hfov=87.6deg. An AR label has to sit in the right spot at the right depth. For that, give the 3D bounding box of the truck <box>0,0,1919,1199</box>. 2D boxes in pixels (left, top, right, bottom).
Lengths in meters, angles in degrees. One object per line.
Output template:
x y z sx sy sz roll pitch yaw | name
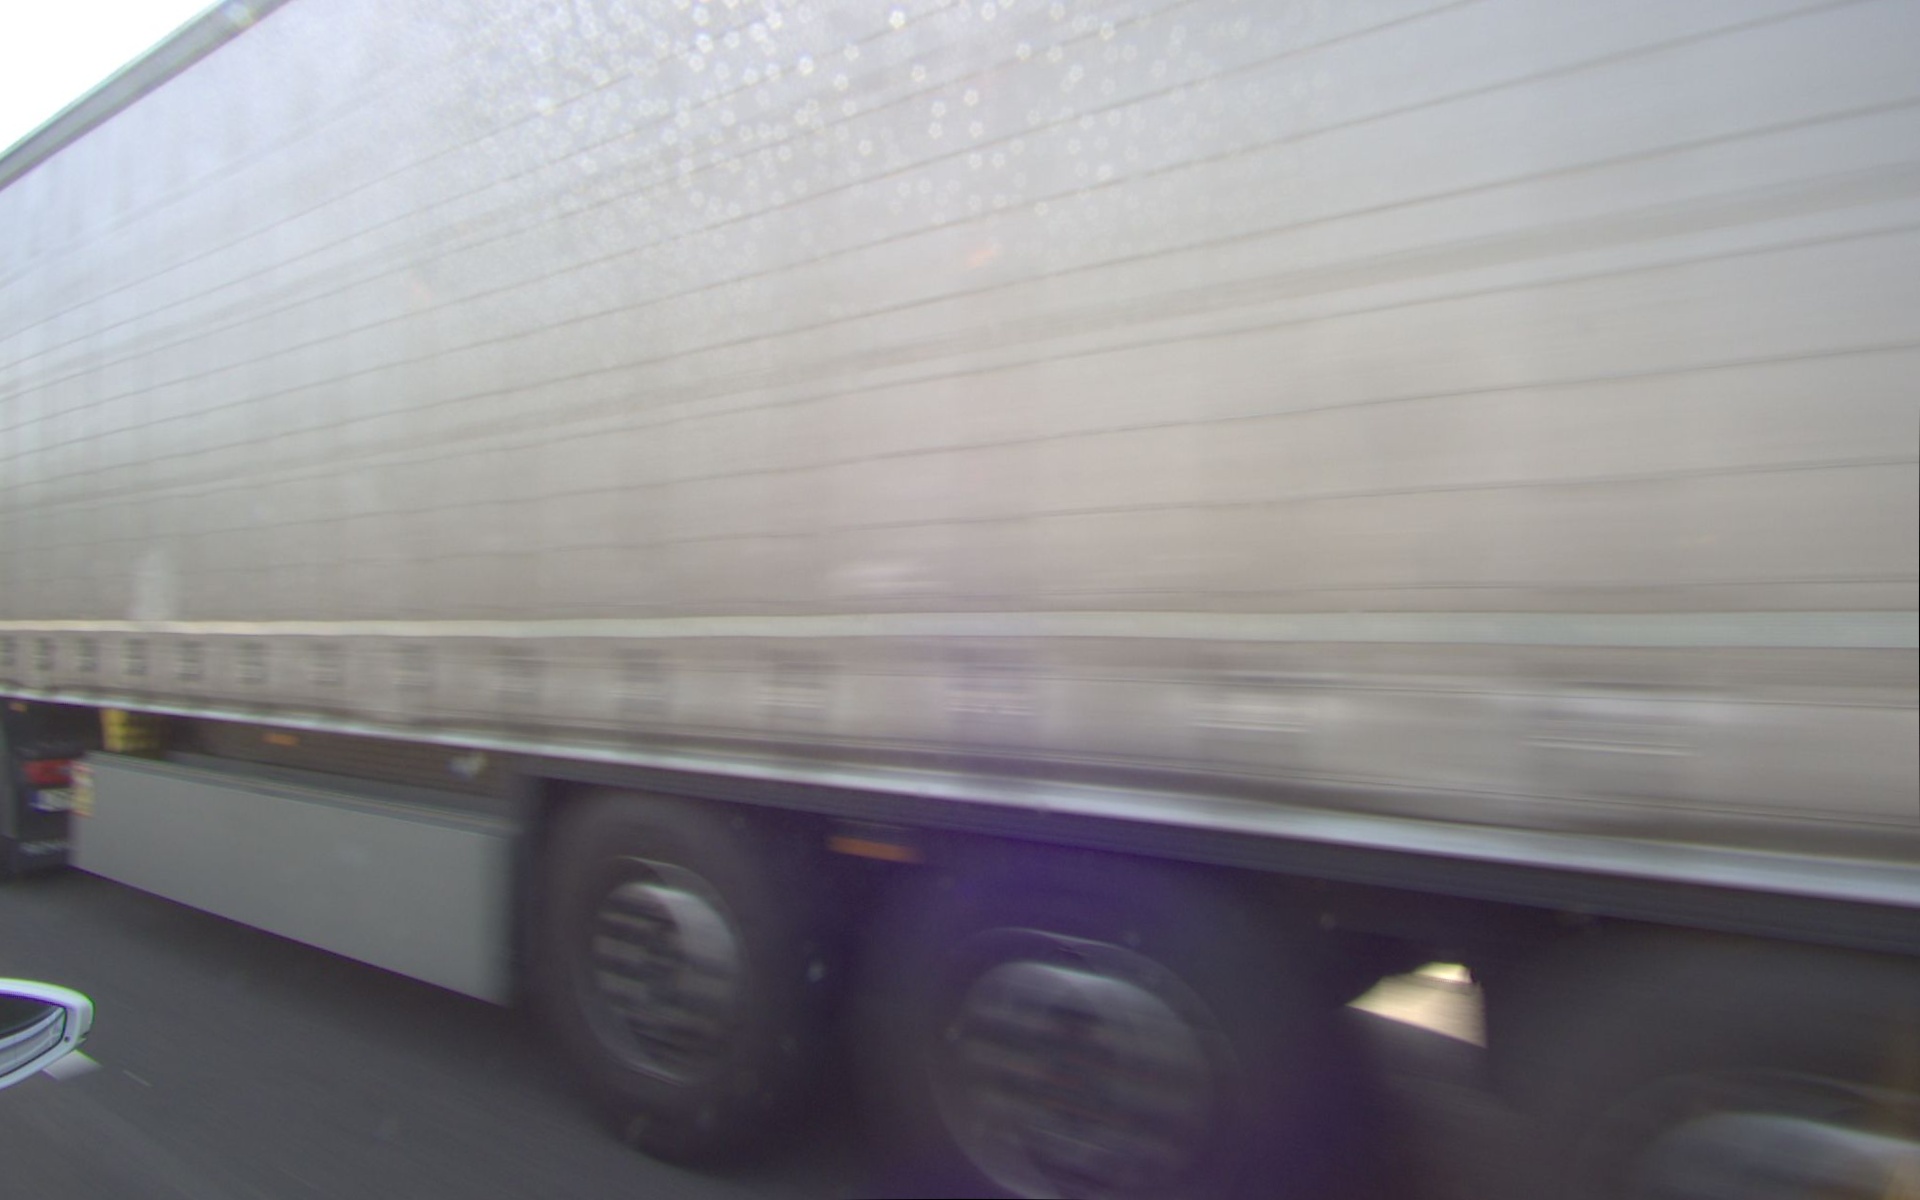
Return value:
-2.274 -0.604 5.188 16.469 4.320 2.886 0 -2 32 | truck
